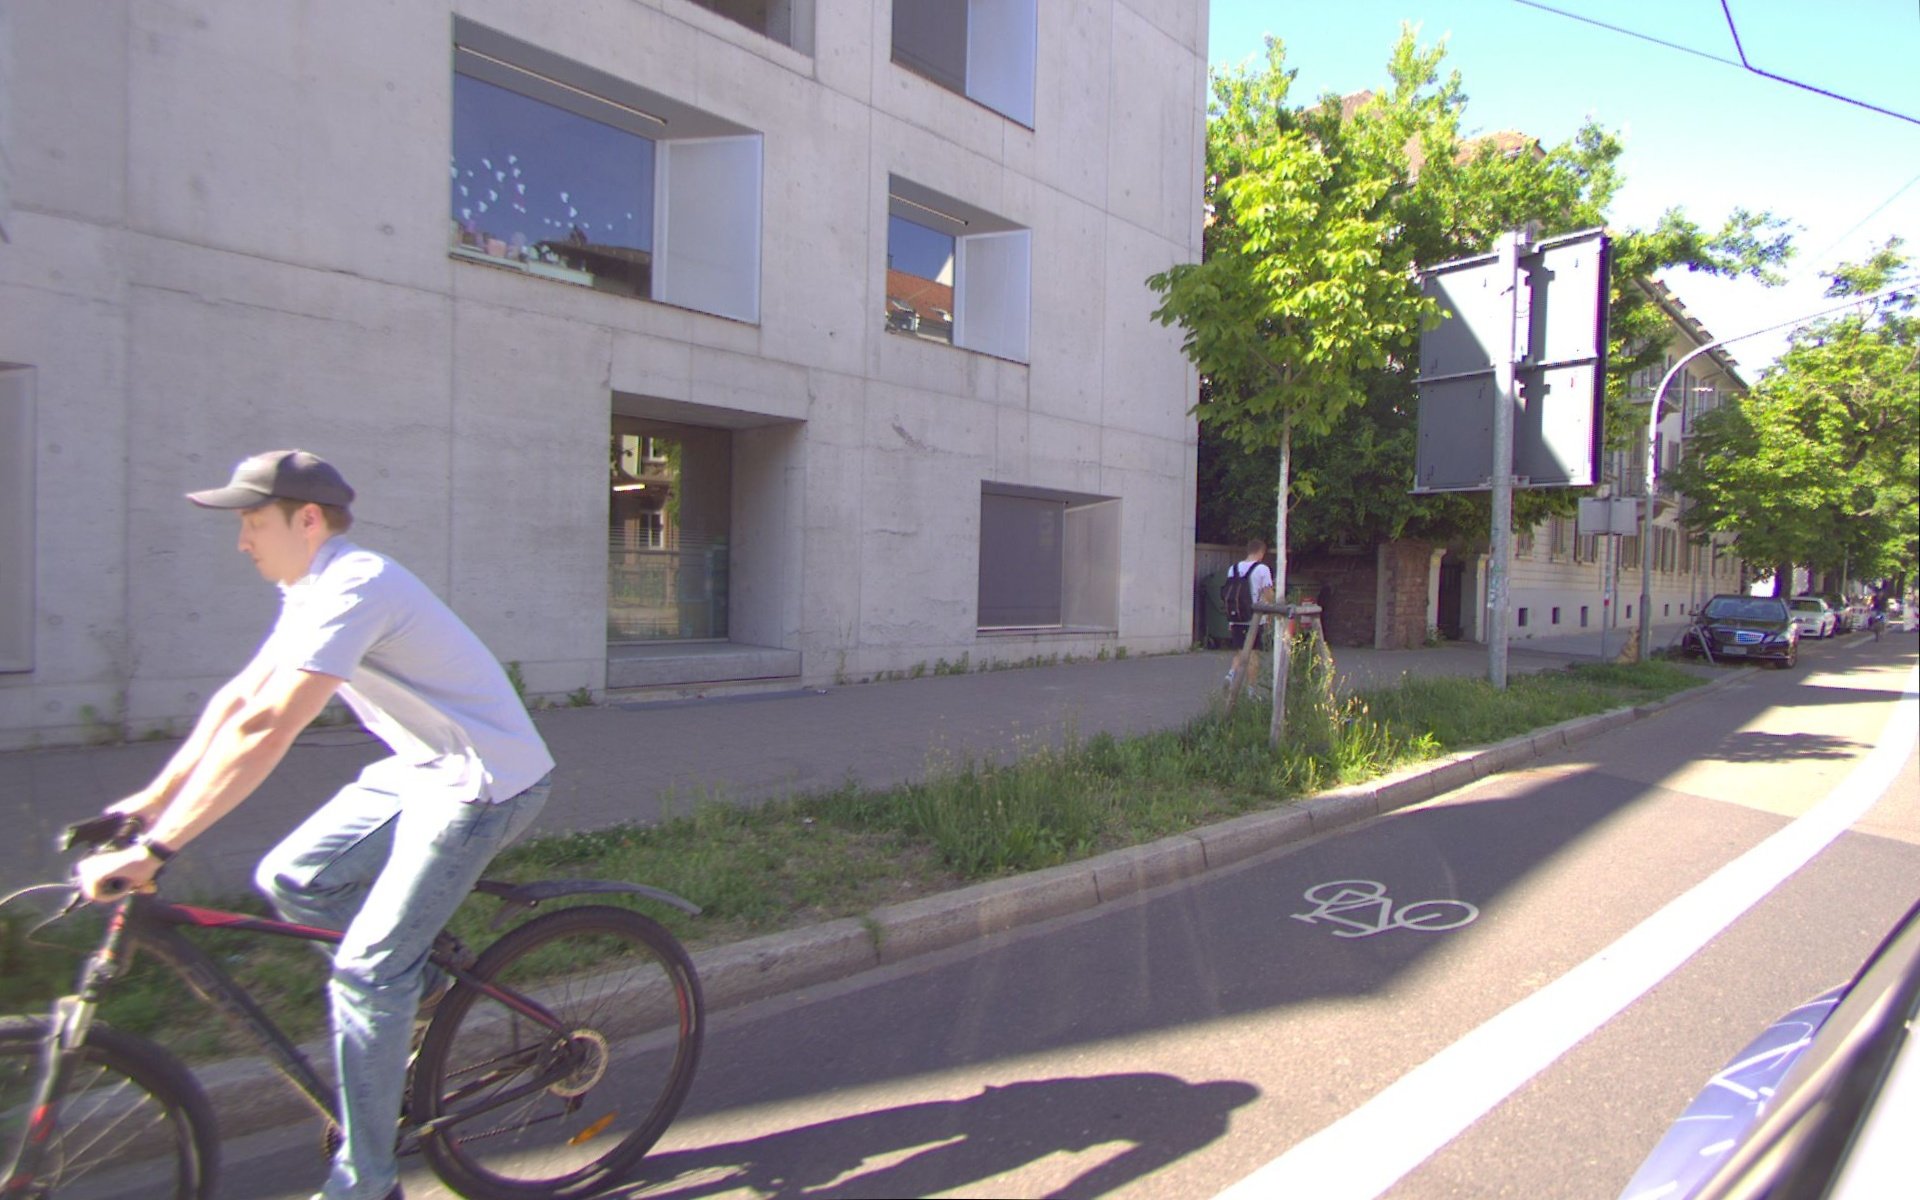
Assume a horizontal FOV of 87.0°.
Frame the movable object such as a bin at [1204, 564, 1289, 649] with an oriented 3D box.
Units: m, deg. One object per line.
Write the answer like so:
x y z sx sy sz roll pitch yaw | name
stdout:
5.279 0.098 18.652 1.332 1.481 0.934 0 1 -43 | movable object such as a bin

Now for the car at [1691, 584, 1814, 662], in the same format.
17.779 0.438 22.608 1.821 1.476 4.746 5 3 41 | car

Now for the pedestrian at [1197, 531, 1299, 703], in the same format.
3.313 0.175 11.637 0.684 1.872 0.940 4 3 44 | pedestrian

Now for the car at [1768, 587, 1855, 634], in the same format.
29.110 0.321 34.554 4.282 1.398 1.726 0 3 -43 | car

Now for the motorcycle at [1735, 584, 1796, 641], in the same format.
23.041 0.329 28.932 2.634 1.506 0.915 0 4 -44 | motorcycle

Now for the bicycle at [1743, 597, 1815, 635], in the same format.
25.638 0.488 31.699 0.674 1.055 1.622 0 3 -43 | bicycle

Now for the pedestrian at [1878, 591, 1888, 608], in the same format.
111.774 -0.103 122.570 0.739 2.039 0.679 2 1 37 | pedestrian

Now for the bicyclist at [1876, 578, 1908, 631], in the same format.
31.413 0.134 34.102 1.030 1.760 0.762 0 0 -45 | bicyclist

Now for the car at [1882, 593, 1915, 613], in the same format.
75.451 0.242 81.343 4.145 1.490 1.703 0 3 -45 | car

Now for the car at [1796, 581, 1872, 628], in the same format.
34.595 0.150 40.008 4.508 1.645 1.813 0 4 -44 | car

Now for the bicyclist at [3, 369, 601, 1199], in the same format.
-1.397 0.485 2.187 0.955 1.707 0.739 0 0 -43 | bicyclist

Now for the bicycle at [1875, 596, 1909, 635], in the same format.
31.362 0.497 34.058 0.762 1.258 2.062 1 1 45 | bicycle

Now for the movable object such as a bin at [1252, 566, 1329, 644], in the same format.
6.549 0.081 20.030 0.934 1.481 1.310 2 2 44 | movable object such as a bin

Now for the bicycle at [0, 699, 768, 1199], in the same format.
-1.489 0.864 2.102 2.075 1.108 0.739 0 0 -43 | bicycle
